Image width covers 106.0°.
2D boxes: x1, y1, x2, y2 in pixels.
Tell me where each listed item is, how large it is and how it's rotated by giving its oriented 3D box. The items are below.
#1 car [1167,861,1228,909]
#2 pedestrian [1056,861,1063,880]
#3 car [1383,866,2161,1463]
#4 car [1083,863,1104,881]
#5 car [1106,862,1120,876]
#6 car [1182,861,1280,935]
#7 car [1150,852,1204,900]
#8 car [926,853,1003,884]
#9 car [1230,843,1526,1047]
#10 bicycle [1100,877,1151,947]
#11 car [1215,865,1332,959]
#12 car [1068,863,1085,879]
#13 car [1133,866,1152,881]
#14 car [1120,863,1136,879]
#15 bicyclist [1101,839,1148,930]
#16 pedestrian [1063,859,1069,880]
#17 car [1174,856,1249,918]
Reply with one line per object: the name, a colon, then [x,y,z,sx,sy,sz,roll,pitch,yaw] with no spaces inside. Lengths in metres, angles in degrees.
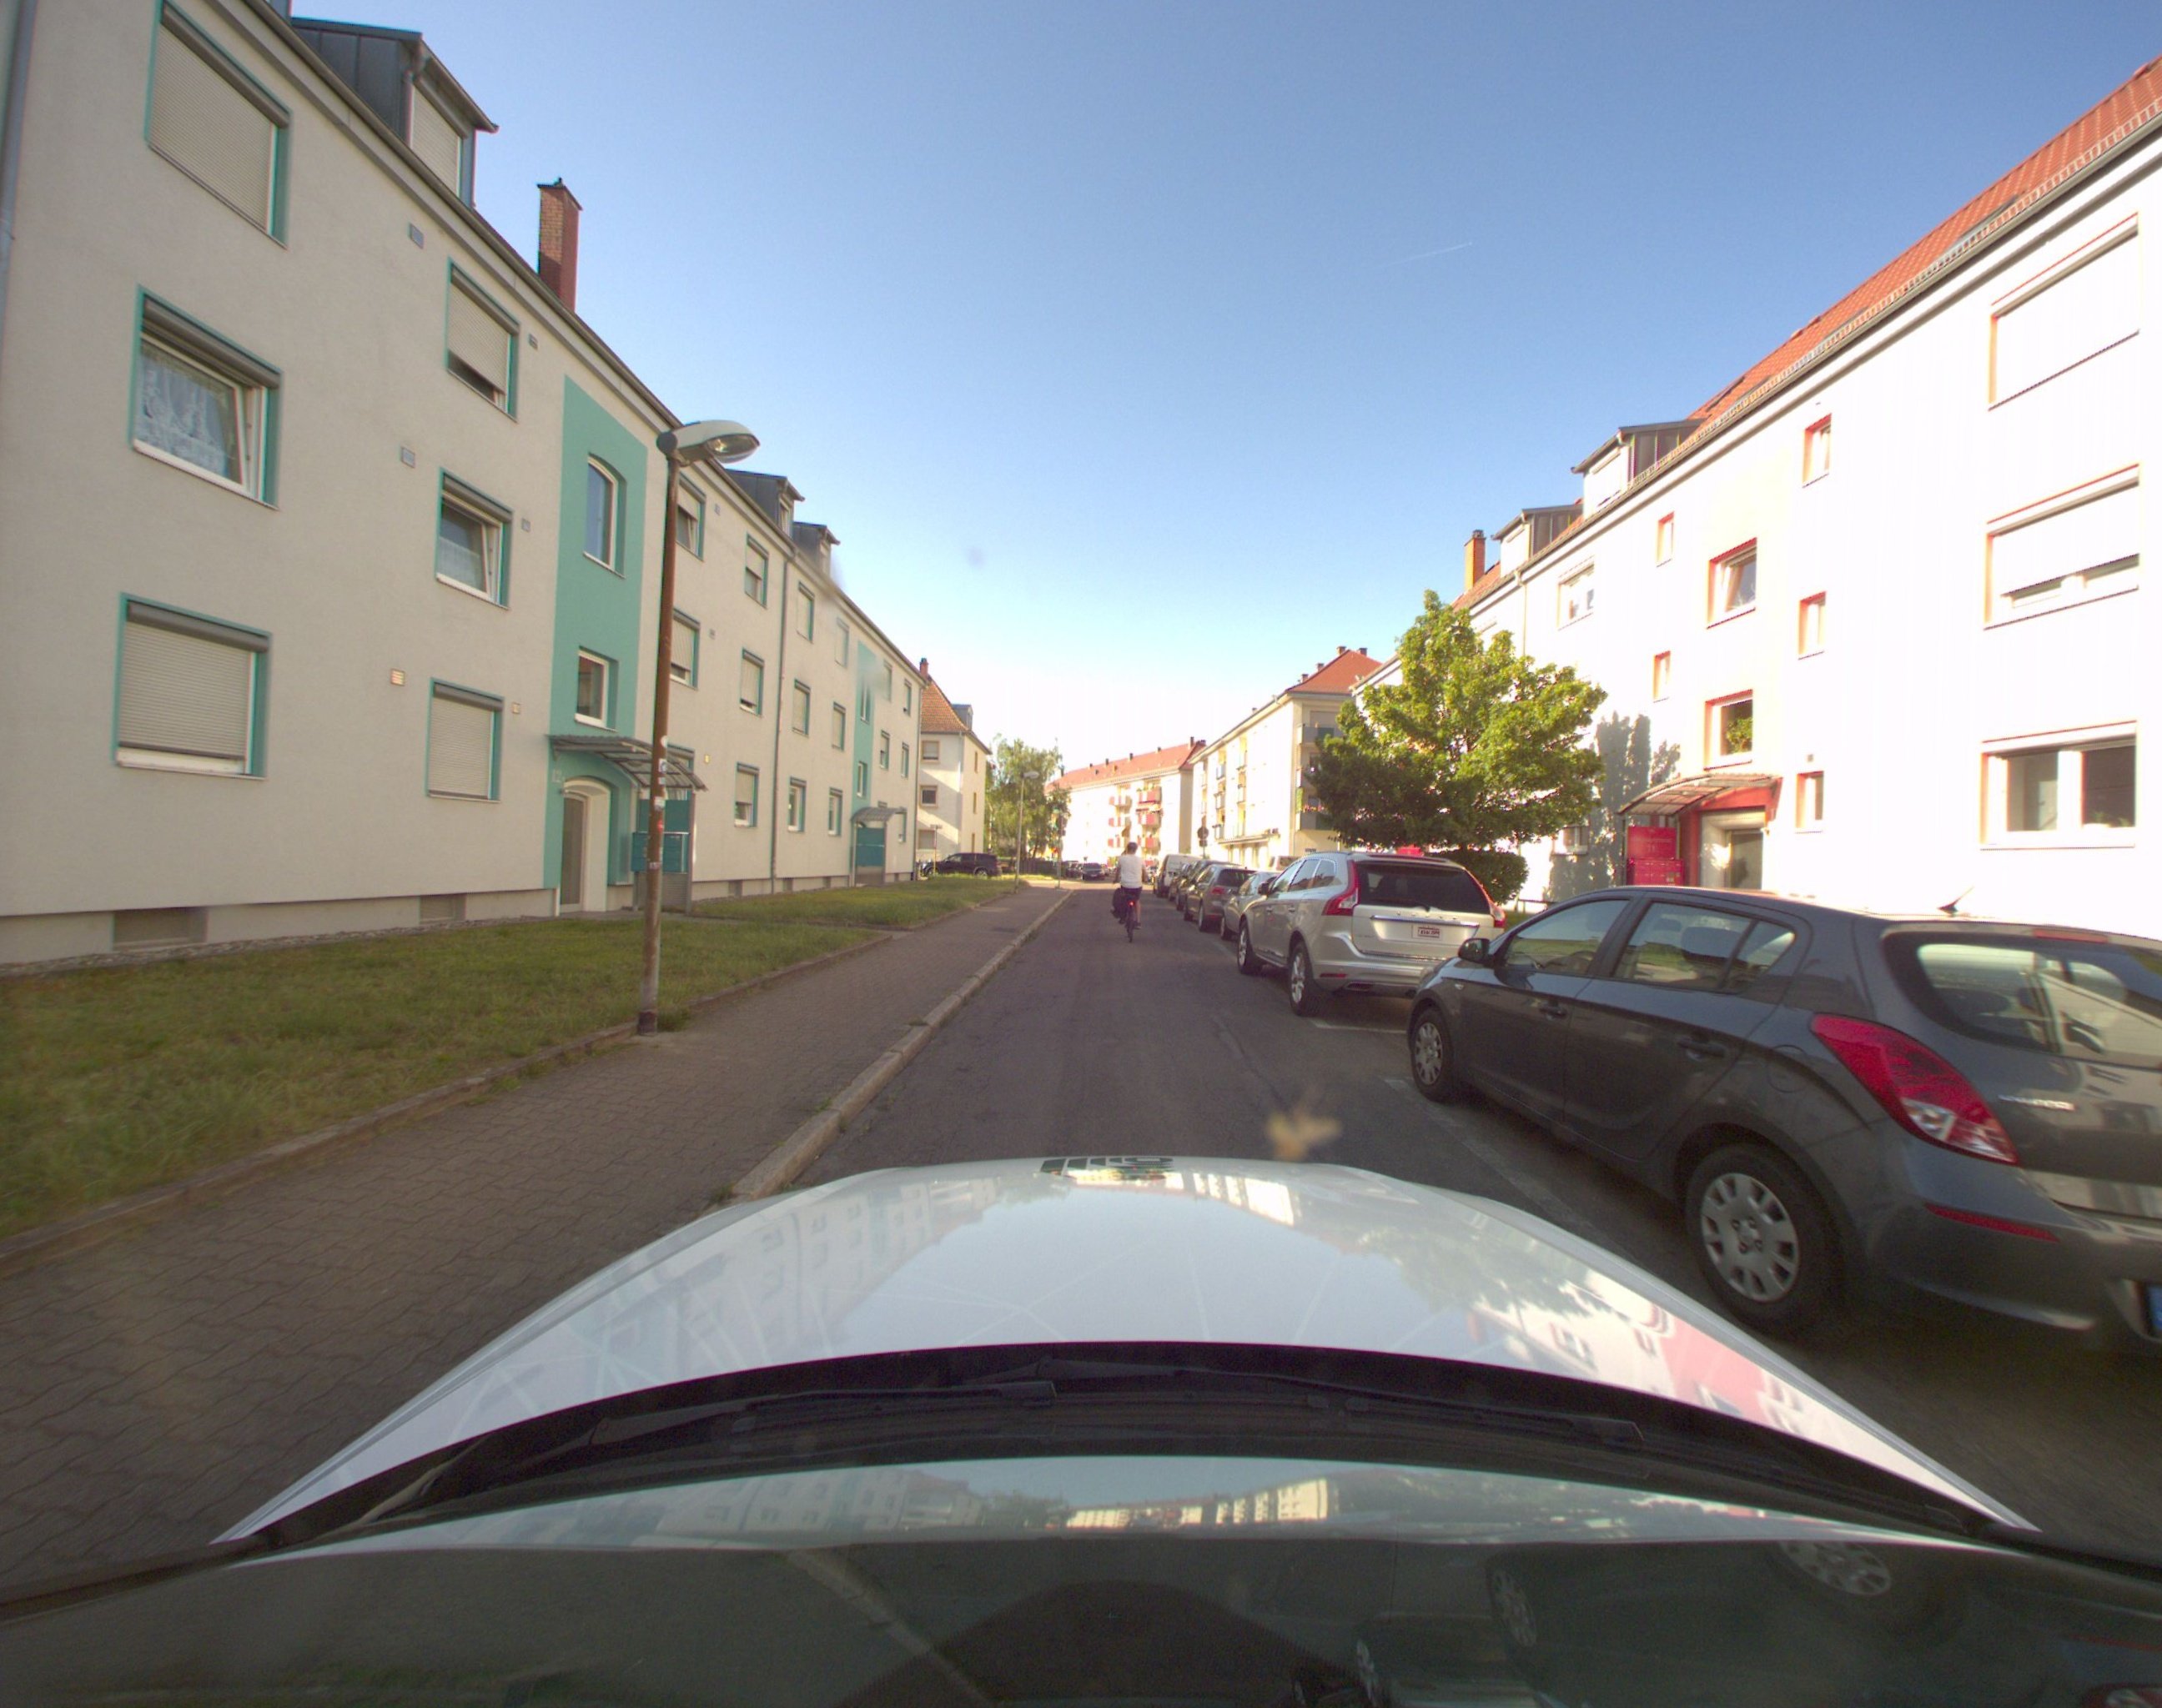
car: [3.949,1.001,27.983,1.554,1.453,3.365,2,0,0]
pedestrian: [-1.635,1.283,61.919,0.432,1.427,0.543,2,0,1]
car: [3.075,0.875,4.061,1.613,1.460,3.840,4,0,-1]
car: [0.989,1.418,65.829,1.466,1.335,3.138,-2,0,-3]
car: [3.701,1.731,94.921,1.464,1.516,3.076,2,0,0]
car: [3.279,0.906,18.450,1.553,1.411,3.935,2,0,2]
car: [3.791,0.842,32.722,1.669,1.738,3.942,2,0,0]
car: [-6.706,0.825,47.179,4.221,1.638,1.581,1,0,-3]
car: [2.961,0.777,9.197,1.695,1.671,4.379,3,0,0]
bicycle: [0.799,1.031,15.111,0.806,1.128,2.101,1,0,-1]
car: [3.333,0.942,14.590,1.386,1.403,3.245,2,0,2]
car: [-0.437,1.605,76.883,1.465,1.335,3.139,-2,0,-1]
car: [5.624,1.788,75.289,1.464,1.335,3.140,2,0,0]
car: [4.756,1.661,82.297,1.377,1.497,3.076,2,0,0]
bicyclist: [0.805,0.547,15.234,0.806,1.643,0.899,1,0,-1]
pedestrian: [-1.139,1.208,62.028,0.432,1.574,0.543,2,-1,1]
car: [3.658,0.893,23.378,1.554,1.576,3.365,2,0,0]
